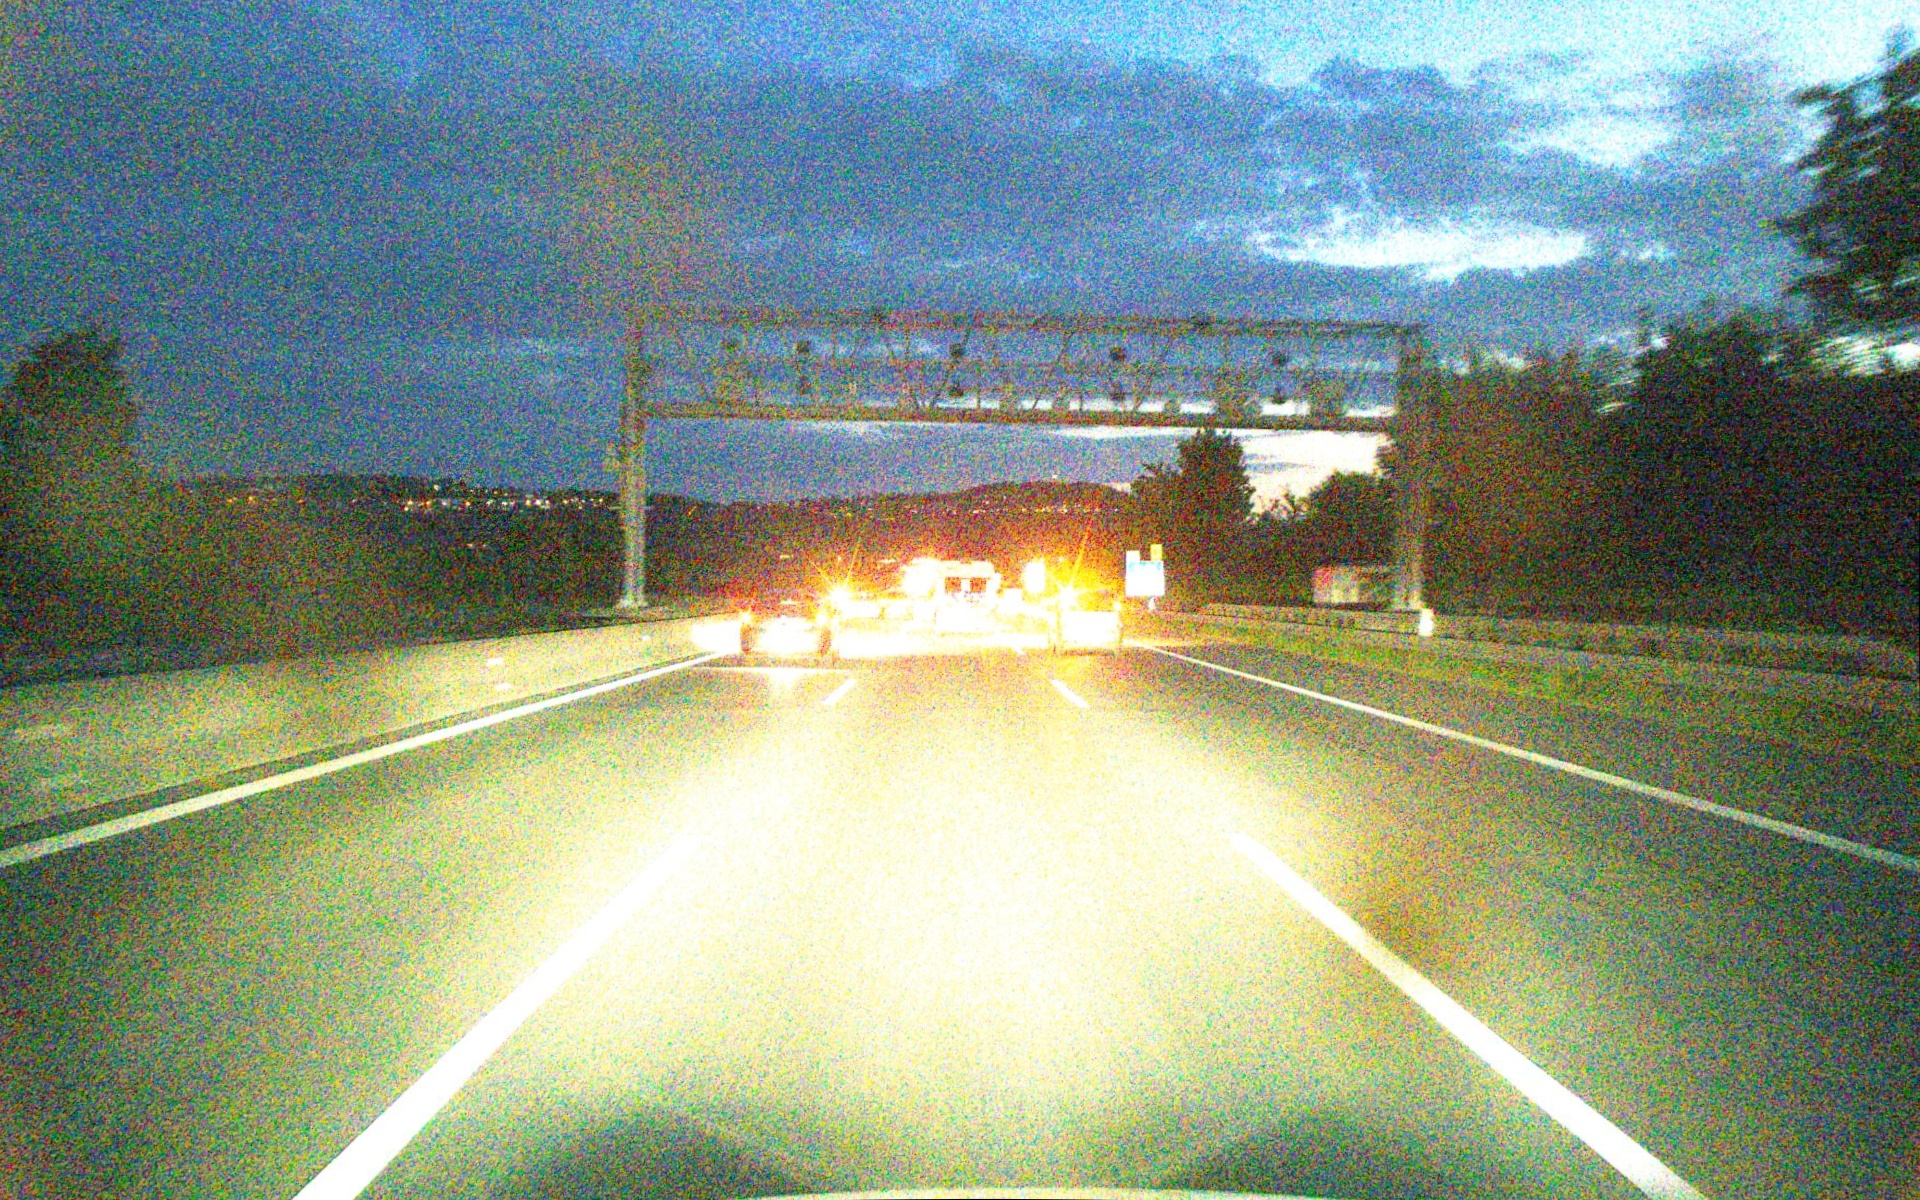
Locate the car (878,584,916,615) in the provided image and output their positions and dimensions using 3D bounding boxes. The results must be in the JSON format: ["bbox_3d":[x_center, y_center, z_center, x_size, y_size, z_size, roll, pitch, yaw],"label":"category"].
[{"bbox_3d":[-3.097,-0.060,81.888,1.709,1.465,4.367,0,1,0],"label":"car"}]

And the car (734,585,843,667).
[{"bbox_3d":[-3.318,0.468,32.653,1.757,1.494,3.772,1,1,0],"label":"car"}]

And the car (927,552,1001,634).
[{"bbox_3d":[0.119,-0.258,55.052,2.303,2.579,5.701,0,1,0],"label":"car"}]

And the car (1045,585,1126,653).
[{"bbox_3d":[3.126,0.446,41.866,1.613,1.624,4.508,1,0,-1],"label":"car"}]

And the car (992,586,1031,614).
[{"bbox_3d":[3.023,-0.016,98.328,2.118,1.591,4.722,0,0,0],"label":"car"}]
